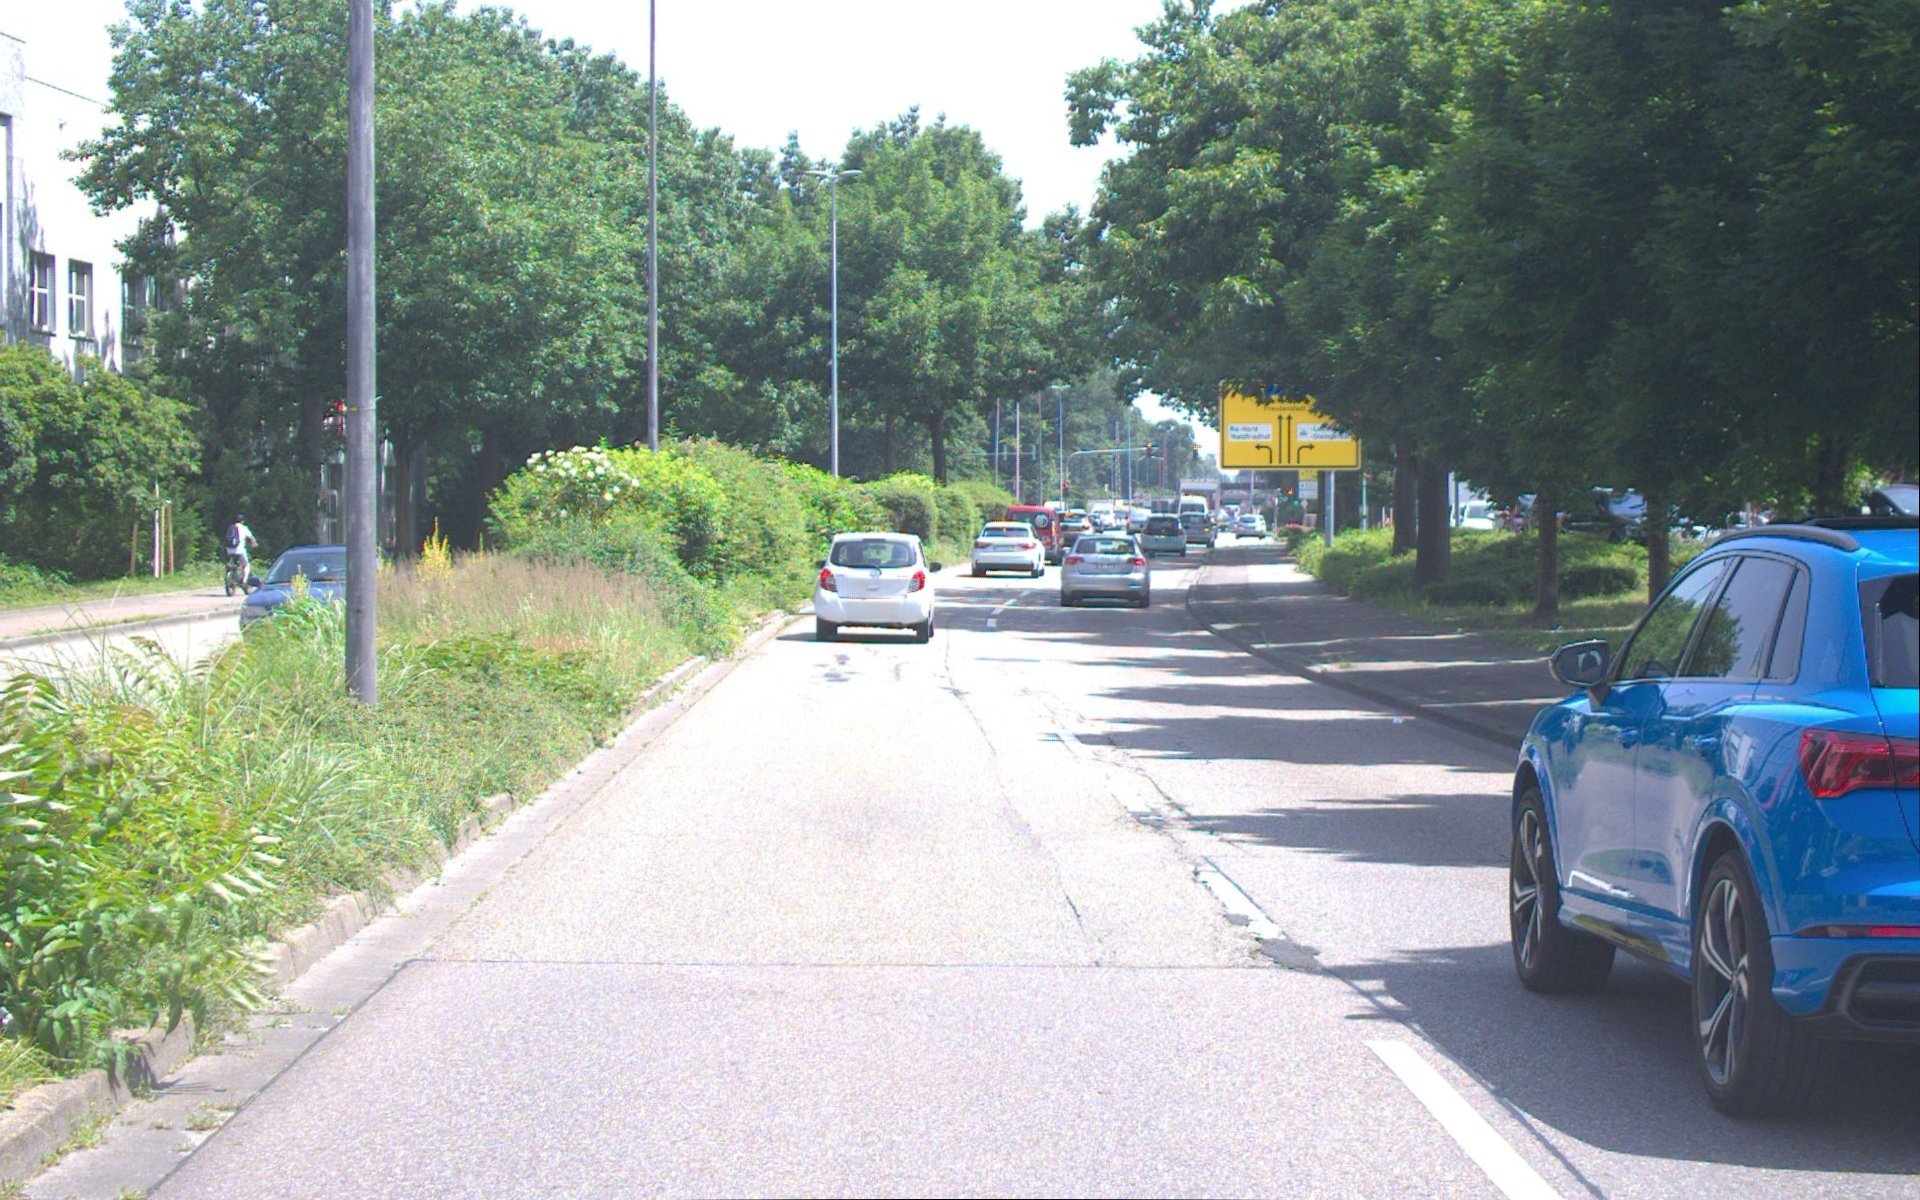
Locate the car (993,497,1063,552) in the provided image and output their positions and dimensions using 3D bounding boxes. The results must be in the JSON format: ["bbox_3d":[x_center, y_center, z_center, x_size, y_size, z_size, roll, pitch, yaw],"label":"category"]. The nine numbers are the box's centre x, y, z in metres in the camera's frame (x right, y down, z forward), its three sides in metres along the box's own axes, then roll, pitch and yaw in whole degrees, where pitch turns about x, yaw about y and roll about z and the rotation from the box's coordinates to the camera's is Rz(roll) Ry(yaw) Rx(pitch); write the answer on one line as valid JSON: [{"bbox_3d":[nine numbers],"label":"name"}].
[{"bbox_3d":[2.084,-2.304,104.808,1.885,1.603,4.000,1,1,4],"label":"car"}]

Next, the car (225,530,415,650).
[{"bbox_3d":[-8.374,-0.174,45.313,1.722,1.412,4.247,-2,2,-1],"label":"car"}]

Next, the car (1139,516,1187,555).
[{"bbox_3d":[7.208,-2.300,122.309,1.441,1.343,3.460,-1,1,0],"label":"car"}]

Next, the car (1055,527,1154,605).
[{"bbox_3d":[2.843,-0.688,67.828,1.866,1.468,4.000,1,1,2],"label":"car"}]

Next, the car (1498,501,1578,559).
[{"bbox_3d":[12.815,-1.548,76.305,1.619,1.248,3.762,1,1,8],"label":"car"}]

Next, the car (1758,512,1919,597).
[{"bbox_3d":[15.391,-0.747,55.834,1.947,1.347,4.715,-2,1,-32],"label":"car"}]

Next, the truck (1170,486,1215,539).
[{"bbox_3d":[15.788,-5.961,232.948,2.932,3.490,9.157,0,2,5],"label":"truck"}]

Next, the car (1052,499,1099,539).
[{"bbox_3d":[4.051,-2.841,120.709,1.487,1.387,3.308,1,1,-1],"label":"car"}]

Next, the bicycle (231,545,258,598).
[{"bbox_3d":[-14.784,-0.593,71.041,0.346,1.064,0.923,-1,1,0],"label":"bicycle"}]

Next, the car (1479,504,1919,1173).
[{"bbox_3d":[2.848,0.537,10.356,1.808,1.587,4.350,1,1,-1],"label":"car"}]

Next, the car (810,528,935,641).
[{"bbox_3d":[-1.223,-0.246,49.230,1.638,1.546,3.325,1,1,1],"label":"car"}]

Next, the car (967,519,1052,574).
[{"bbox_3d":[1.298,-1.380,88.230,1.885,1.349,3.999,1,1,5],"label":"car"}]

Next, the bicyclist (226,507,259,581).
[{"bbox_3d":[-14.804,-1.153,70.968,0.545,1.504,0.343,-3,1,0],"label":"bicyclist"}]
